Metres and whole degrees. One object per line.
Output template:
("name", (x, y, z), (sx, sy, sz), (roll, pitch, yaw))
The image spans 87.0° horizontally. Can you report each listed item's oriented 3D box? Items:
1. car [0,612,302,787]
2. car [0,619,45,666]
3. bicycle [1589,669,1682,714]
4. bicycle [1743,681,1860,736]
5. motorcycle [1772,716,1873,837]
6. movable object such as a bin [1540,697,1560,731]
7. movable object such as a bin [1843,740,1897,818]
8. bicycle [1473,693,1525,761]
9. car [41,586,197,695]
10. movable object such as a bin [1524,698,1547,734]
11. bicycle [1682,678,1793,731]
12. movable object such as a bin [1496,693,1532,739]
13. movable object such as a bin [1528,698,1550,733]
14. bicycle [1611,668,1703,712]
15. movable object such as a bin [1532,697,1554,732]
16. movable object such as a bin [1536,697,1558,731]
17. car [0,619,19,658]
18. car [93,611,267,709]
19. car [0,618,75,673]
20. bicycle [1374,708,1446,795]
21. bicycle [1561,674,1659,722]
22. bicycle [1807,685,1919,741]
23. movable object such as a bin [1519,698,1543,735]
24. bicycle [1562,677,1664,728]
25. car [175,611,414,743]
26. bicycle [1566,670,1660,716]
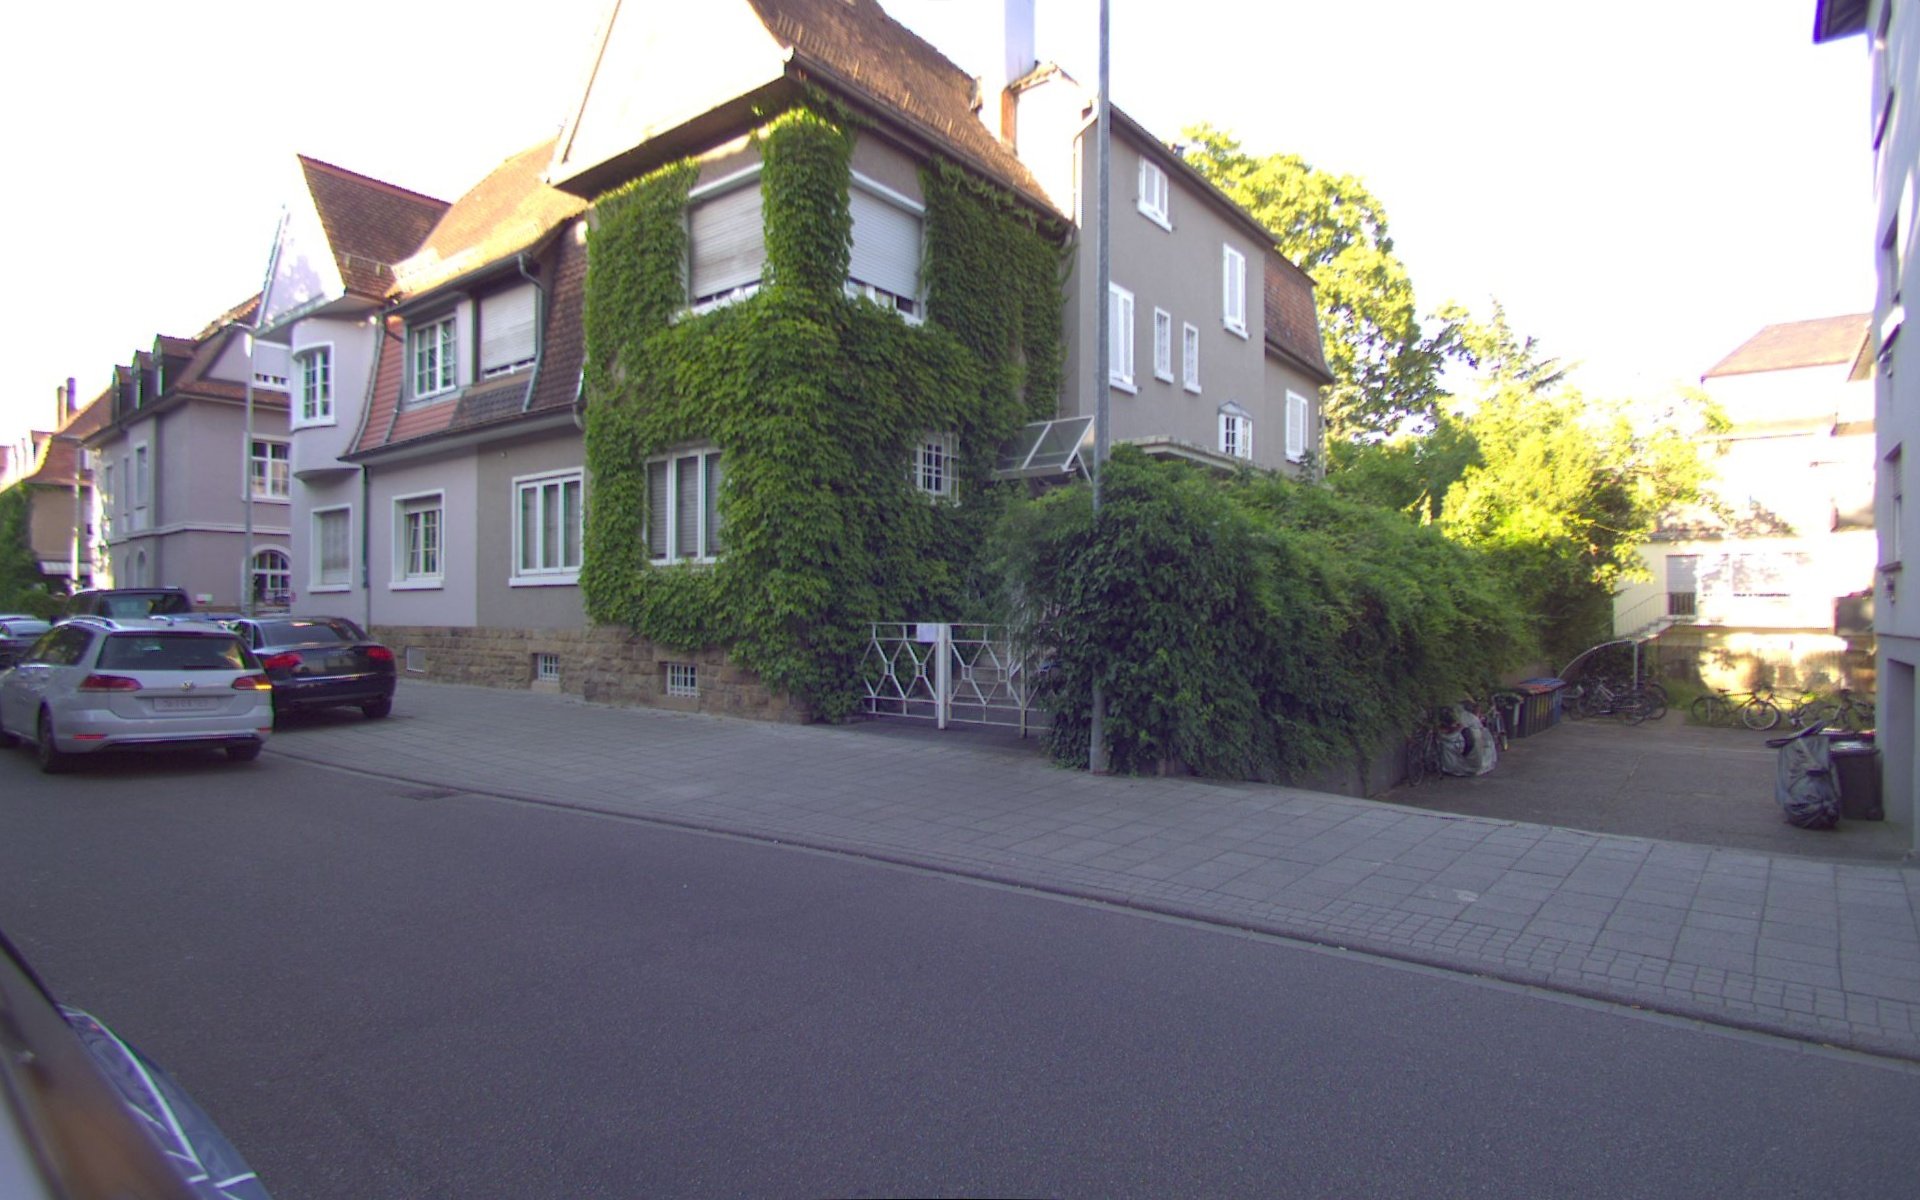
("car", (-8.747, 0.932, 10.566), (4.293, 1.473, 1.764), (-2, -4, 37))
("car", (-30.270, 1.334, 31.950), (3.942, 1.381, 1.522), (-1, 0, 40))
("bicycle", (18.620, 2.498, 27.938), (2.068, 1.028, 0.608), (1, 3, 41))
("bicycle", (19.606, 2.511, 23.629), (2.068, 1.028, 0.634), (1, 3, 41))
("motorcycle", (10.718, 2.152, 12.630), (0.757, 1.261, 1.575), (-1, -3, 34))
("movable object such as a bin", (13.789, 2.659, 23.661), (0.346, 0.764, 0.359), (-1, -4, 41))
("movable object such as a bin", (11.764, 2.299, 13.099), (0.432, 0.894, 0.717), (-1, -3, 37))
("bicycle", (9.960, 2.315, 18.673), (0.514, 1.027, 1.914), (1, 0, 38))
("car", (-17.486, 0.752, 20.975), (4.308, 1.987, 1.698), (0, 2, 40))
("movable object such as a bin", (12.773, 2.568, 22.464), (0.381, 0.779, 0.359), (-1, -4, 41))
("bicycle", (18.719, 2.496, 24.393), (2.068, 1.028, 0.634), (1, 3, 41))
("movable object such as a bin", (11.546, 2.406, 21.096), (0.576, 0.886, 0.488), (0, -3, 41))
("movable object such as a bin", (13.025, 2.593, 22.765), (0.375, 0.764, 0.359), (-1, -4, 41))
("bicycle", (19.422, 2.487, 28.243), (2.068, 1.028, 0.561), (1, 3, 41))
("movable object such as a bin", (13.288, 2.605, 23.059), (0.367, 0.764, 0.359), (-1, -4, 41))
("movable object such as a bin", (13.540, 2.622, 23.343), (0.367, 0.764, 0.359), (-1, -4, 41))
("car", (-36.544, 1.445, 37.699), (3.942, 1.381, 1.698), (-1, 1, 40))
("car", (-13.924, 0.977, 17.999), (4.021, 1.475, 1.591), (0, 2, 40))
("car", (-26.355, 1.232, 28.358), (4.331, 1.381, 1.698), (-1, 1, 40))
("bicycle", (6.765, 2.231, 15.166), (0.514, 1.027, 1.914), (1, 0, 38))
("bicycle", (16.842, 2.521, 26.270), (2.068, 1.028, 0.565), (1, 3, 41))
("bicycle", (20.490, 2.533, 22.844), (2.068, 1.028, 0.634), (1, 3, 41))
("movable object such as a bin", (12.504, 2.539, 22.161), (0.398, 0.779, 0.359), (-1, -4, 41))
("bicycle", (16.277, 2.528, 25.258), (2.068, 1.028, 0.634), (1, 3, 41))
("car", (-9.223, 0.930, 13.909), (4.023, 1.439, 1.729), (0, 2, 42))
("bicycle", (17.702, 2.510, 27.472), (2.068, 1.028, 0.608), (1, 3, 41))
